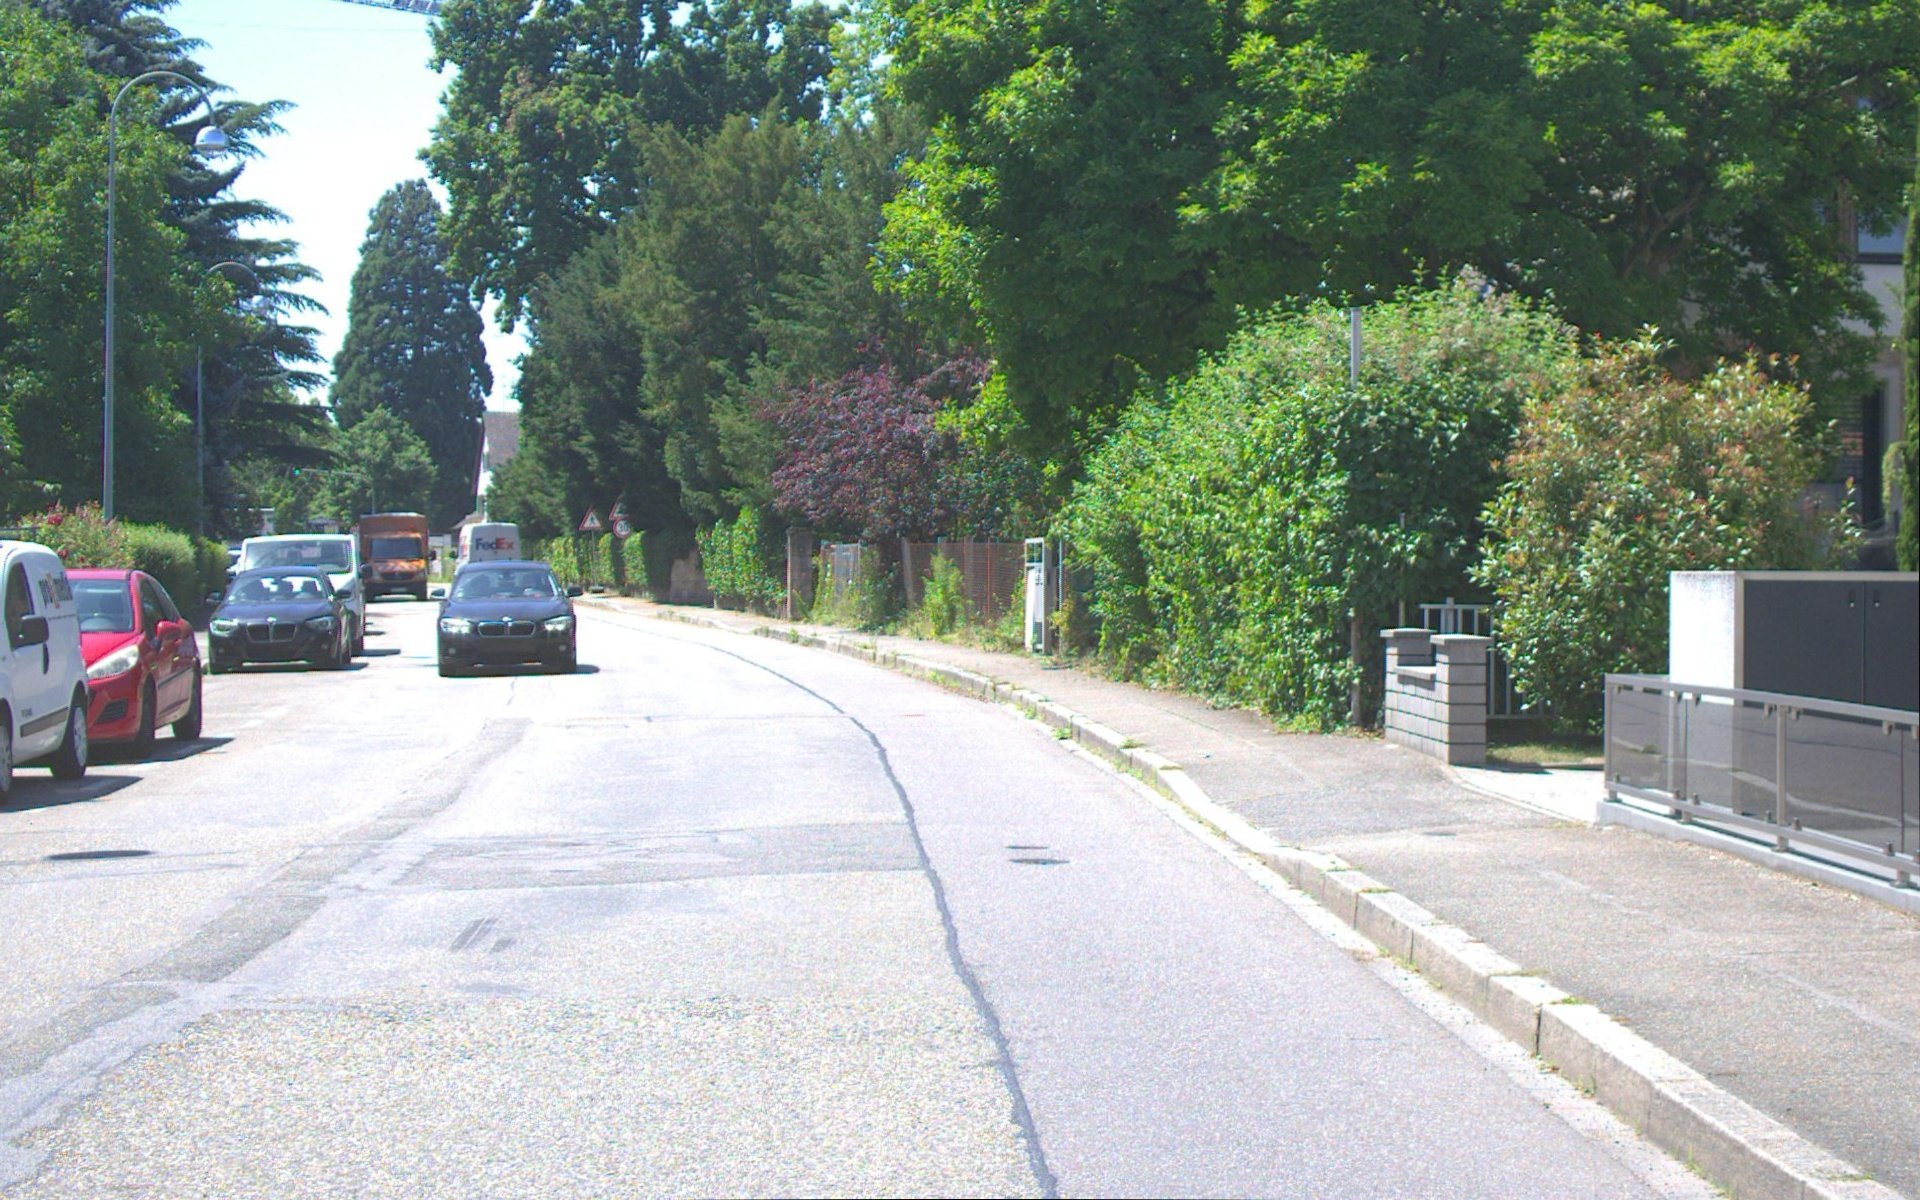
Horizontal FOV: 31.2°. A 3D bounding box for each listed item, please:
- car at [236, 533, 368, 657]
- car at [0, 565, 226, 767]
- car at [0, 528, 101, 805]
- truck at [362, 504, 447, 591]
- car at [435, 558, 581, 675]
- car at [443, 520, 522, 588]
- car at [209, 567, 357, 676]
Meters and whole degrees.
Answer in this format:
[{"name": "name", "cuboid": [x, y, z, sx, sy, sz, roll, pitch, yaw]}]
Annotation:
[{"name": "car", "cuboid": [-10.508, -0.109, 55.178, 1.886, 1.875, 4.982, -1, 1, -9]}, {"name": "car", "cuboid": [-7.182, 0.486, 27.772, 1.760, 1.472, 4.058, -2, 1, -3]}, {"name": "car", "cuboid": [-6.958, 0.424, 22.754, 1.722, 1.730, 3.887, -2, 1, -3]}, {"name": "truck", "cuboid": [-18.542, -1.737, 114.517, 2.372, 2.820, 5.660, -1, 1, -13]}, {"name": "car", "cuboid": [-5.821, 0.206, 44.629, 1.731, 1.412, 4.001, -1, 0, -6]}, {"name": "car", "cuboid": [-16.793, -1.608, 120.743, 2.143, 2.307, 4.854, -1, 1, -15]}, {"name": "car", "cuboid": [-9.313, 0.262, 47.556, 1.698, 1.379, 4.236, -2, 1, -7]}]
